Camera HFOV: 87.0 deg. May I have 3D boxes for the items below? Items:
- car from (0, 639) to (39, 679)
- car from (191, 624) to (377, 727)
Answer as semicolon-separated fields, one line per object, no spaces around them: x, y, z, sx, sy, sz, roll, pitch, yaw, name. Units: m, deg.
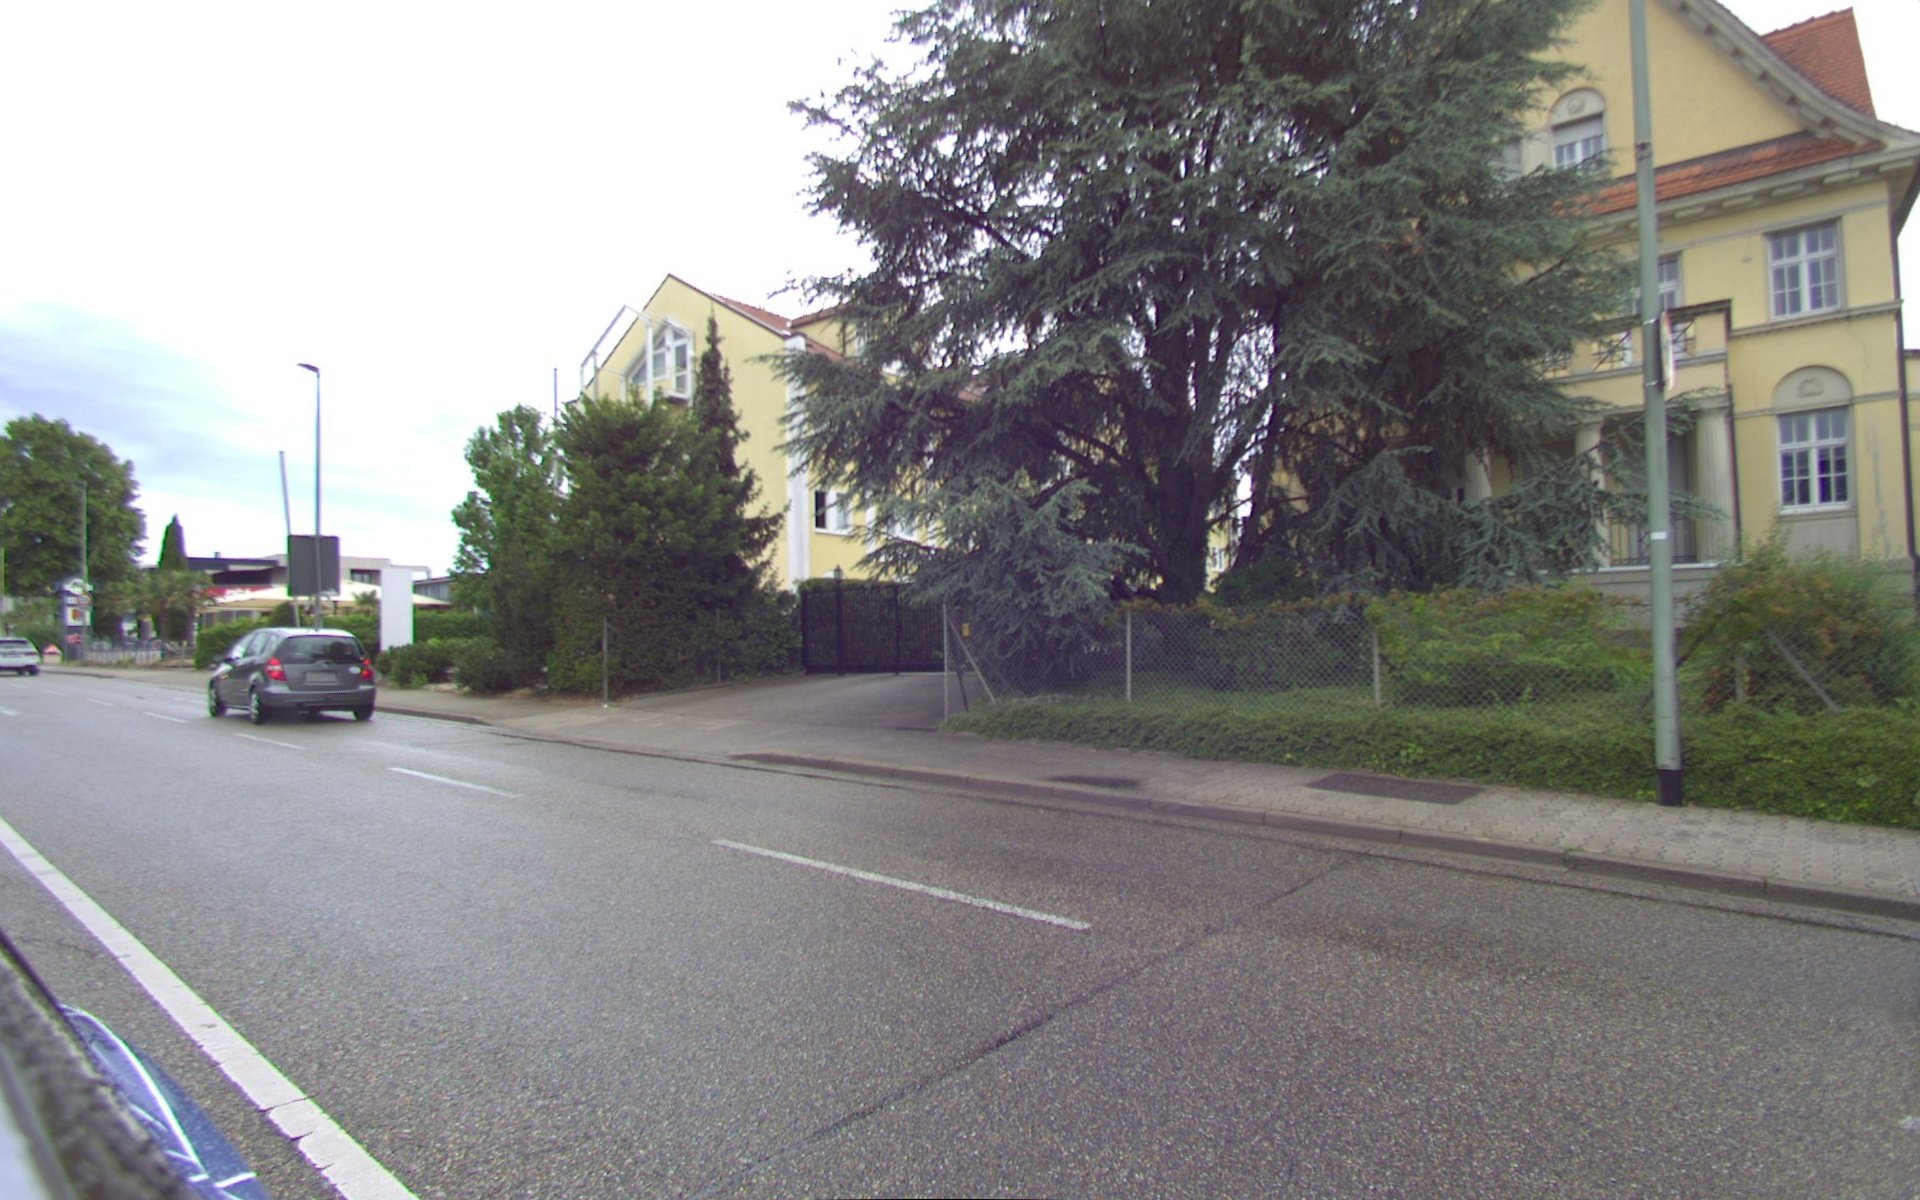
-36.631;2.232;38.441;4.426;1.471;1.768;-2;-3;39;car
-11.837;1.286;17.665;3.546;1.611;1.682;-2;-5;39;car
